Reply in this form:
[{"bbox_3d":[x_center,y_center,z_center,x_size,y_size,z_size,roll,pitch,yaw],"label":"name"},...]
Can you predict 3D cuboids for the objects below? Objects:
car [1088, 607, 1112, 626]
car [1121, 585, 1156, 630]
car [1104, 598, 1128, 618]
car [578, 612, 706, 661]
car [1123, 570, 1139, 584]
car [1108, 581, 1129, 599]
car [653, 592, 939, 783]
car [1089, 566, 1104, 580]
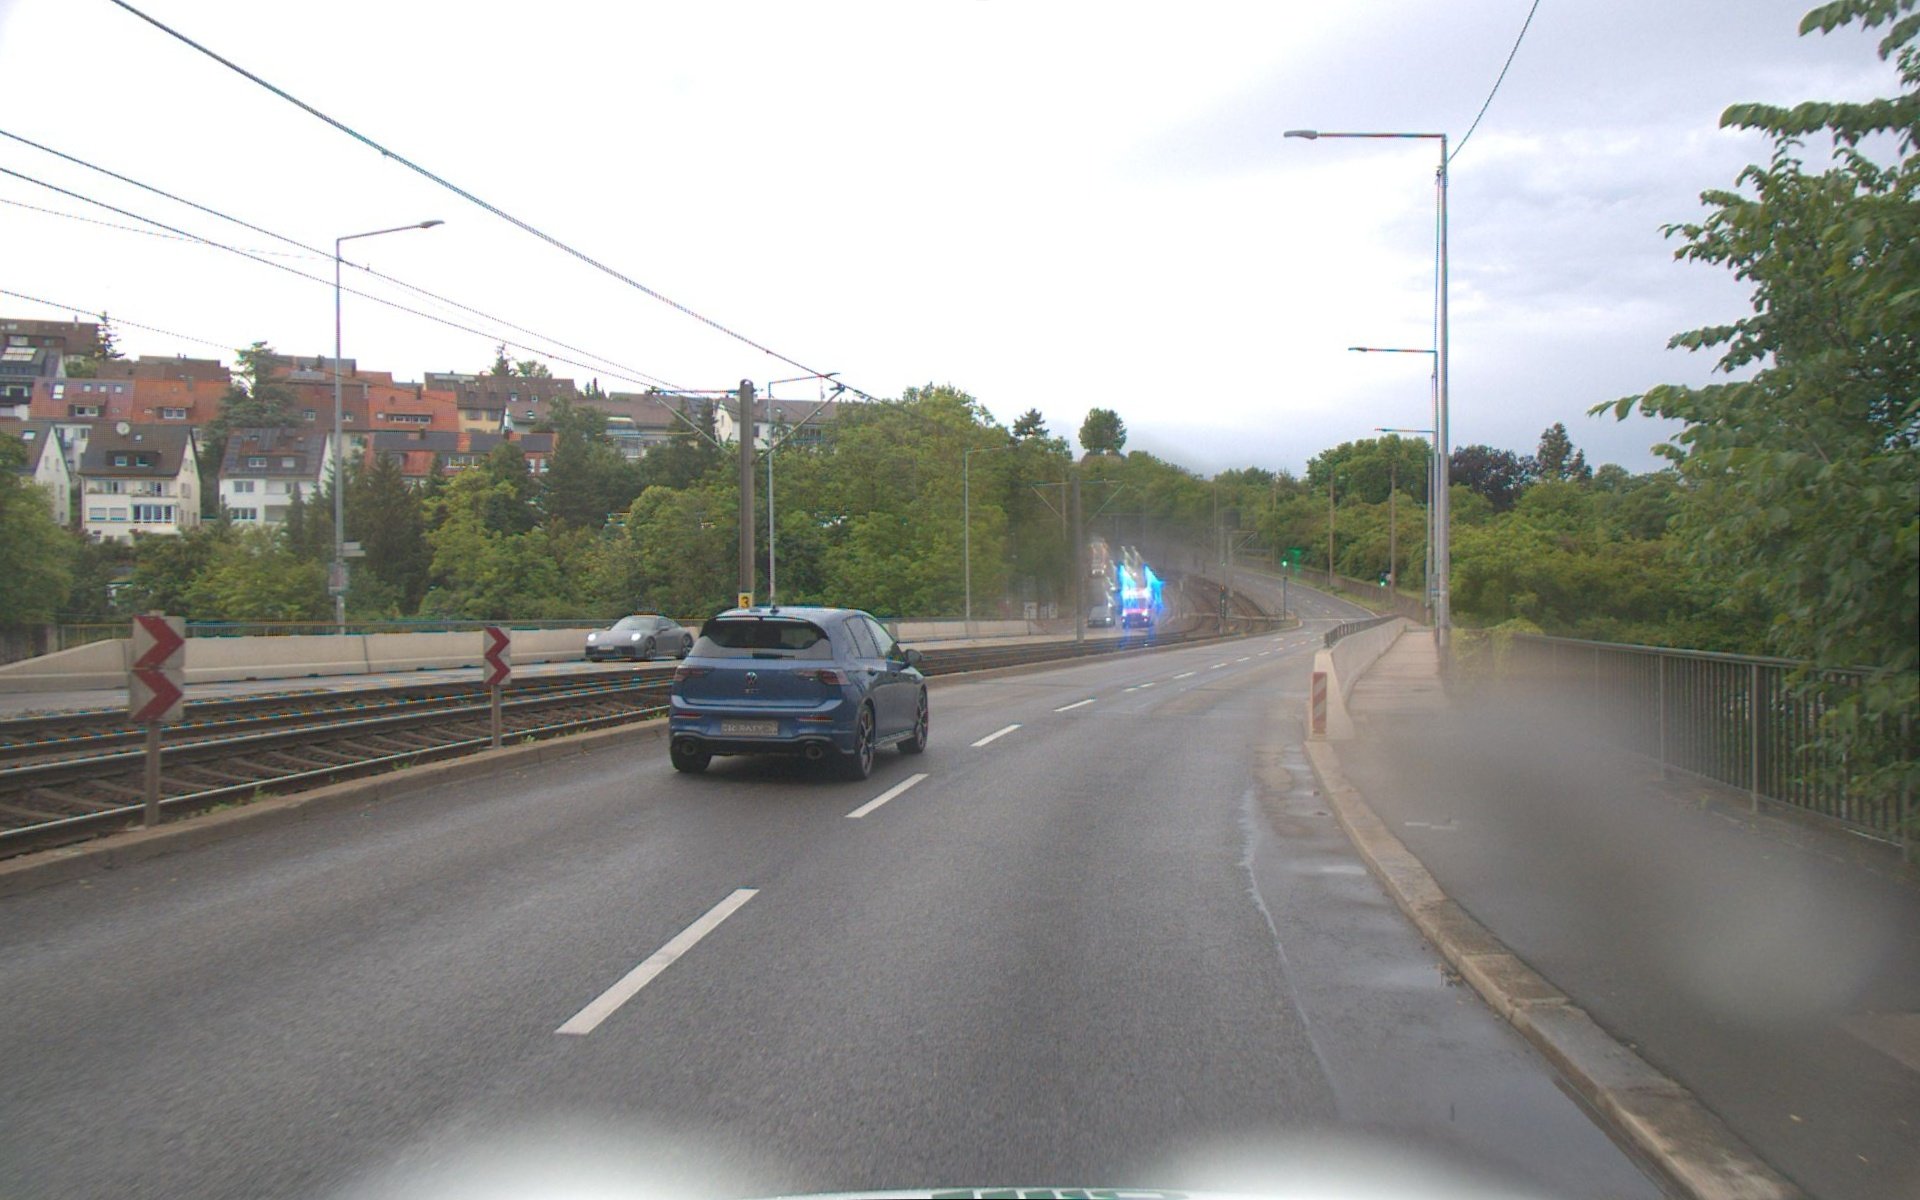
[{"bbox_3d":[10.582,1.245,125.387,1.778,1.461,4.743,0,0,5],"label":"car"},{"bbox_3d":[13.190,0.578,122.088,2.338,3.170,6.361,1,-1,8],"label":"car"},{"bbox_3d":[13.497,0.714,142.938,1.856,1.625,4.734,-1,0,3],"label":"car"},{"bbox_3d":[-9.212,1.067,48.294,1.797,1.337,4.621,-1,-1,16],"label":"car"},{"bbox_3d":[19.956,-2.699,193.116,1.567,1.519,3.018,-2,1,2],"label":"car"},{"bbox_3d":[16.212,-1.020,169.038,1.927,1.625,5.186,-1,-2,4],"label":"car"},{"bbox_3d":[-1.386,0.738,15.605,1.726,1.527,4.003,1,-1,9],"label":"car"},{"bbox_3d":[16.695,-3.302,202.466,1.782,1.542,4.531,0,-1,5],"label":"car"}]
